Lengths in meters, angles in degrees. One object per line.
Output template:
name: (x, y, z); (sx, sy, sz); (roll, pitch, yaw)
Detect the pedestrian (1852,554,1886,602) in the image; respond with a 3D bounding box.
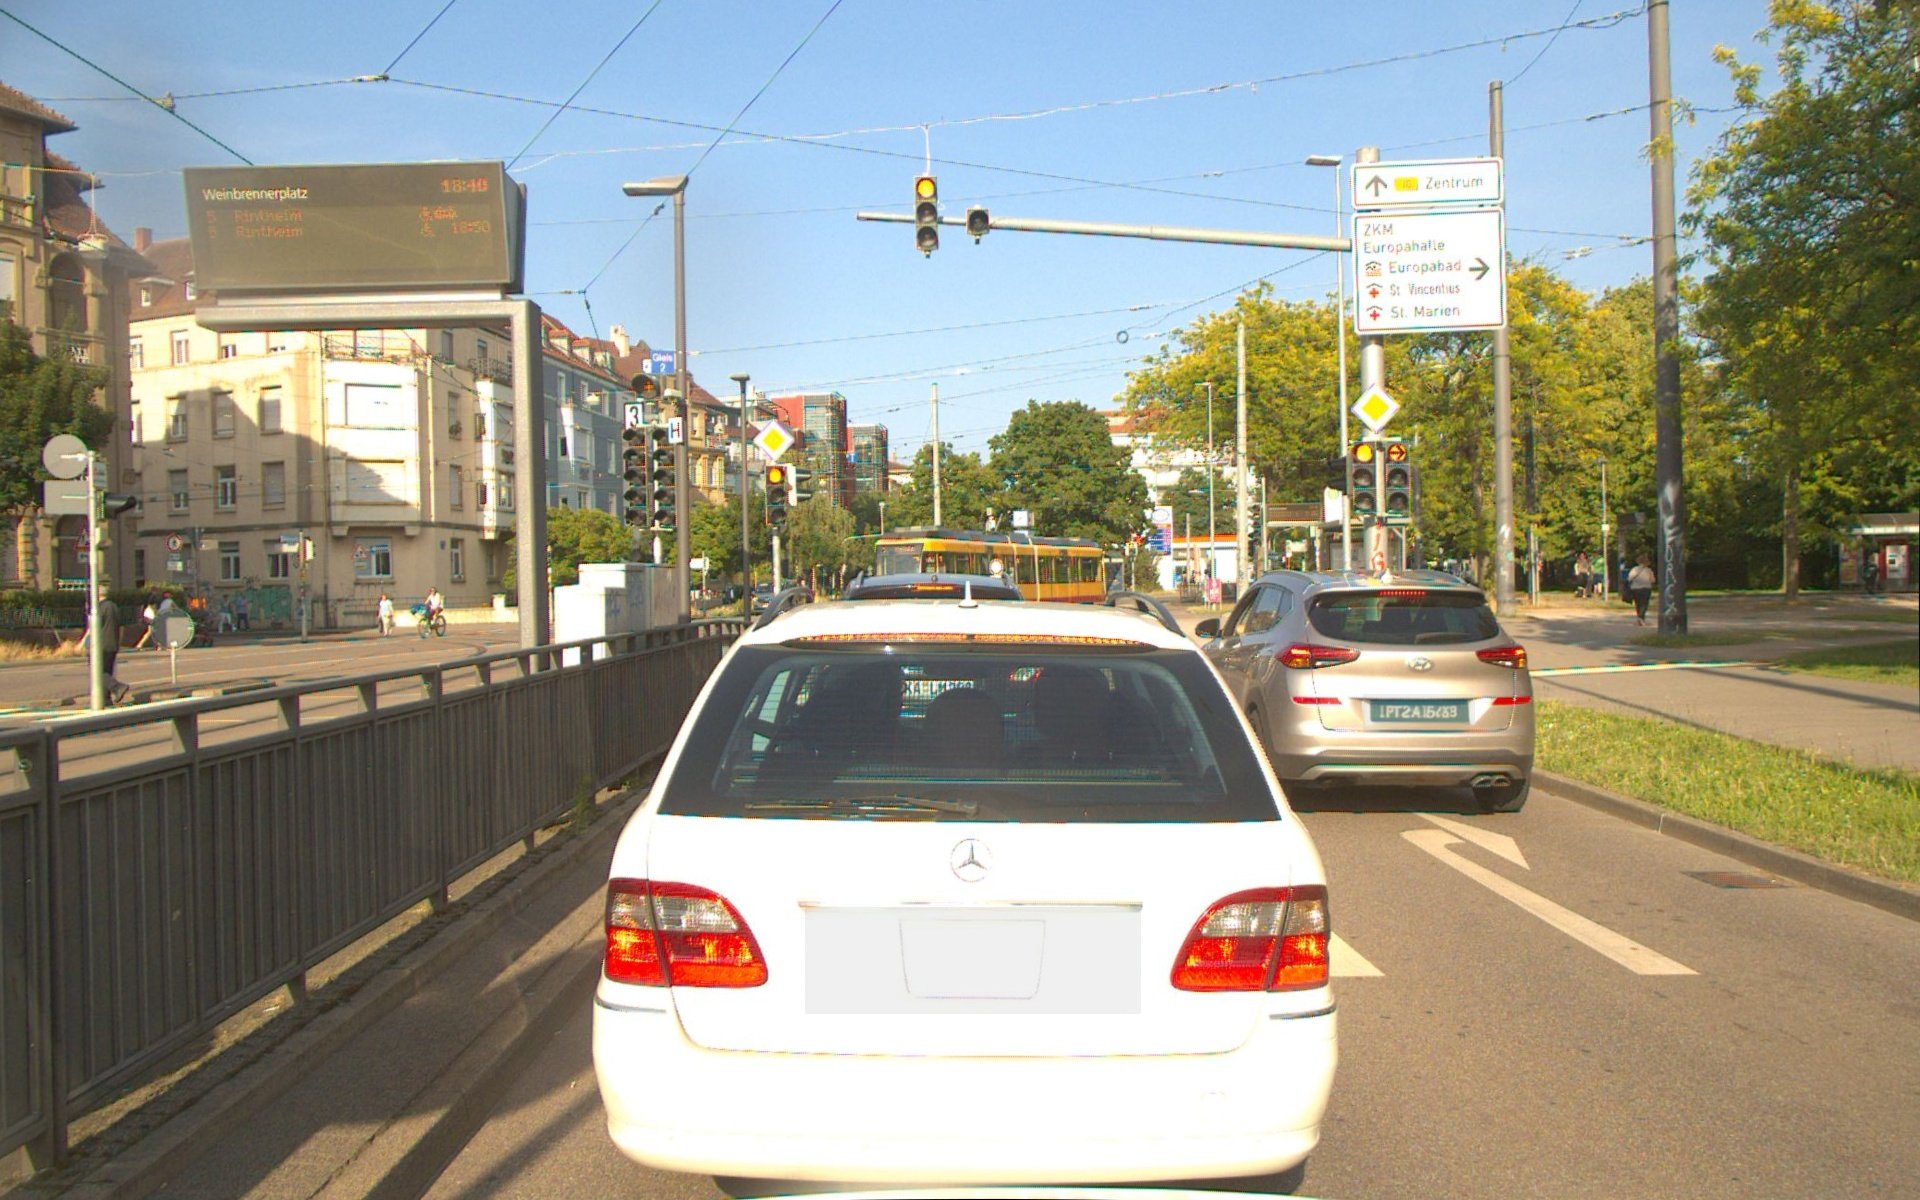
pedestrian: (32.724, -0.791, 59.548); (0.818, 1.665, 0.803); (-1, 0, 5)

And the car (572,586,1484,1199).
car: (0.109, 0.709, 5.020); (1.759, 1.496, 3.647); (0, 0, -1)

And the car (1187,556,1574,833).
car: (2.886, 0.576, 12.183); (1.846, 1.680, 3.647); (-2, 0, -1)

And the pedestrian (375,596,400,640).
pedestrian: (-21.047, 0.651, 60.814); (0.616, 1.568, 0.711); (-1, 0, -1)

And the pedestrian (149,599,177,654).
pedestrian: (-22.763, 0.756, 47.261); (0.428, 1.527, 0.549); (-1, 0, 14)

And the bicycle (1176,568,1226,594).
bicycle: (12.044, -0.962, 82.691); (2.430, 1.234, 0.807); (-1, 0, 7)

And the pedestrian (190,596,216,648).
pedestrian: (-22.535, 0.651, 49.233); (0.523, 1.527, 0.389); (-1, 0, 14)

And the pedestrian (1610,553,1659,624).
pedestrian: (16.094, -0.264, 39.479); (0.748, 1.665, 0.797); (-2, 0, -40)

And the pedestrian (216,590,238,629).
pedestrian: (-31.849, 0.418, 71.909); (0.606, 1.689, 0.586); (-1, 0, 14)

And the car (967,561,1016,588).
car: (2.542, -2.070, 134.762); (3.906, 2.049, 1.999); (1, 0, -2)

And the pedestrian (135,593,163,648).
pedestrian: (-22.878, 0.585, 46.659); (0.428, 1.527, 0.549); (-1, 0, 14)

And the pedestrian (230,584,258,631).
pedestrian: (-31.490, 0.313, 72.709); (0.758, 2.049, 0.787); (-1, 0, 14)

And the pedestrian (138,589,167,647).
pedestrian: (-23.360, 0.524, 47.853); (0.497, 1.654, 0.608); (-1, 0, 0)

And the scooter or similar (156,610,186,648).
scooter or similar: (-23.143, 0.859, 48.528); (0.532, 1.098, 0.683); (1, 0, -1)

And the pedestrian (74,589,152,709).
pedestrian: (-12.207, 0.689, 23.838); (0.788, 1.674, 0.745); (-2, 0, -45)

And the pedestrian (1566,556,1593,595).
pedestrian: (24.044, -0.946, 64.179); (0.809, 1.513, 0.690); (-2, 0, -42)

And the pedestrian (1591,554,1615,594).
pedestrian: (24.591, -0.992, 63.284); (0.797, 1.513, 0.700); (-1, 0, 24)

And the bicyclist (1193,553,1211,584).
bicyclist: (12.087, -1.570, 82.669); (0.842, 1.507, 0.790); (-1, 0, 7)

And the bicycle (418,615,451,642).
bicycle: (-17.541, 0.932, 55.236); (0.515, 0.849, 1.686); (-1, 0, 1)

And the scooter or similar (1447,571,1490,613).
scooter or similar: (14.058, -0.216, 45.739); (0.413, 1.136, 1.322); (-1, 0, -20)

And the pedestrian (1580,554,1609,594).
pedestrian: (24.851, -1.012, 64.799); (0.799, 1.513, 0.699); (-1, 0, -12)

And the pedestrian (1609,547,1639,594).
pedestrian: (25.870, -1.141, 64.459); (0.784, 1.816, 0.838); (-1, 0, -5)

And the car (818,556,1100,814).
car: (-0.023, 0.551, 12.790); (1.846, 1.680, 3.647); (1, 0, -1)

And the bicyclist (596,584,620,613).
bicyclist: (-16.221, -0.073, 76.258); (0.747, 1.284, 1.175); (-1, 0, 3)

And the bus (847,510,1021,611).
bus: (-0.754, -1.415, 66.287); (3.043, 3.669, 12.379); (1, 0, 18)

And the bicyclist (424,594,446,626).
bicyclist: (-17.545, 0.323, 55.266); (0.502, 1.062, 0.679); (-1, 0, 0)

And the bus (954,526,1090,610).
bus: (3.160, -1.370, 78.191); (3.043, 3.669, 12.596); (1, 0, 18)
